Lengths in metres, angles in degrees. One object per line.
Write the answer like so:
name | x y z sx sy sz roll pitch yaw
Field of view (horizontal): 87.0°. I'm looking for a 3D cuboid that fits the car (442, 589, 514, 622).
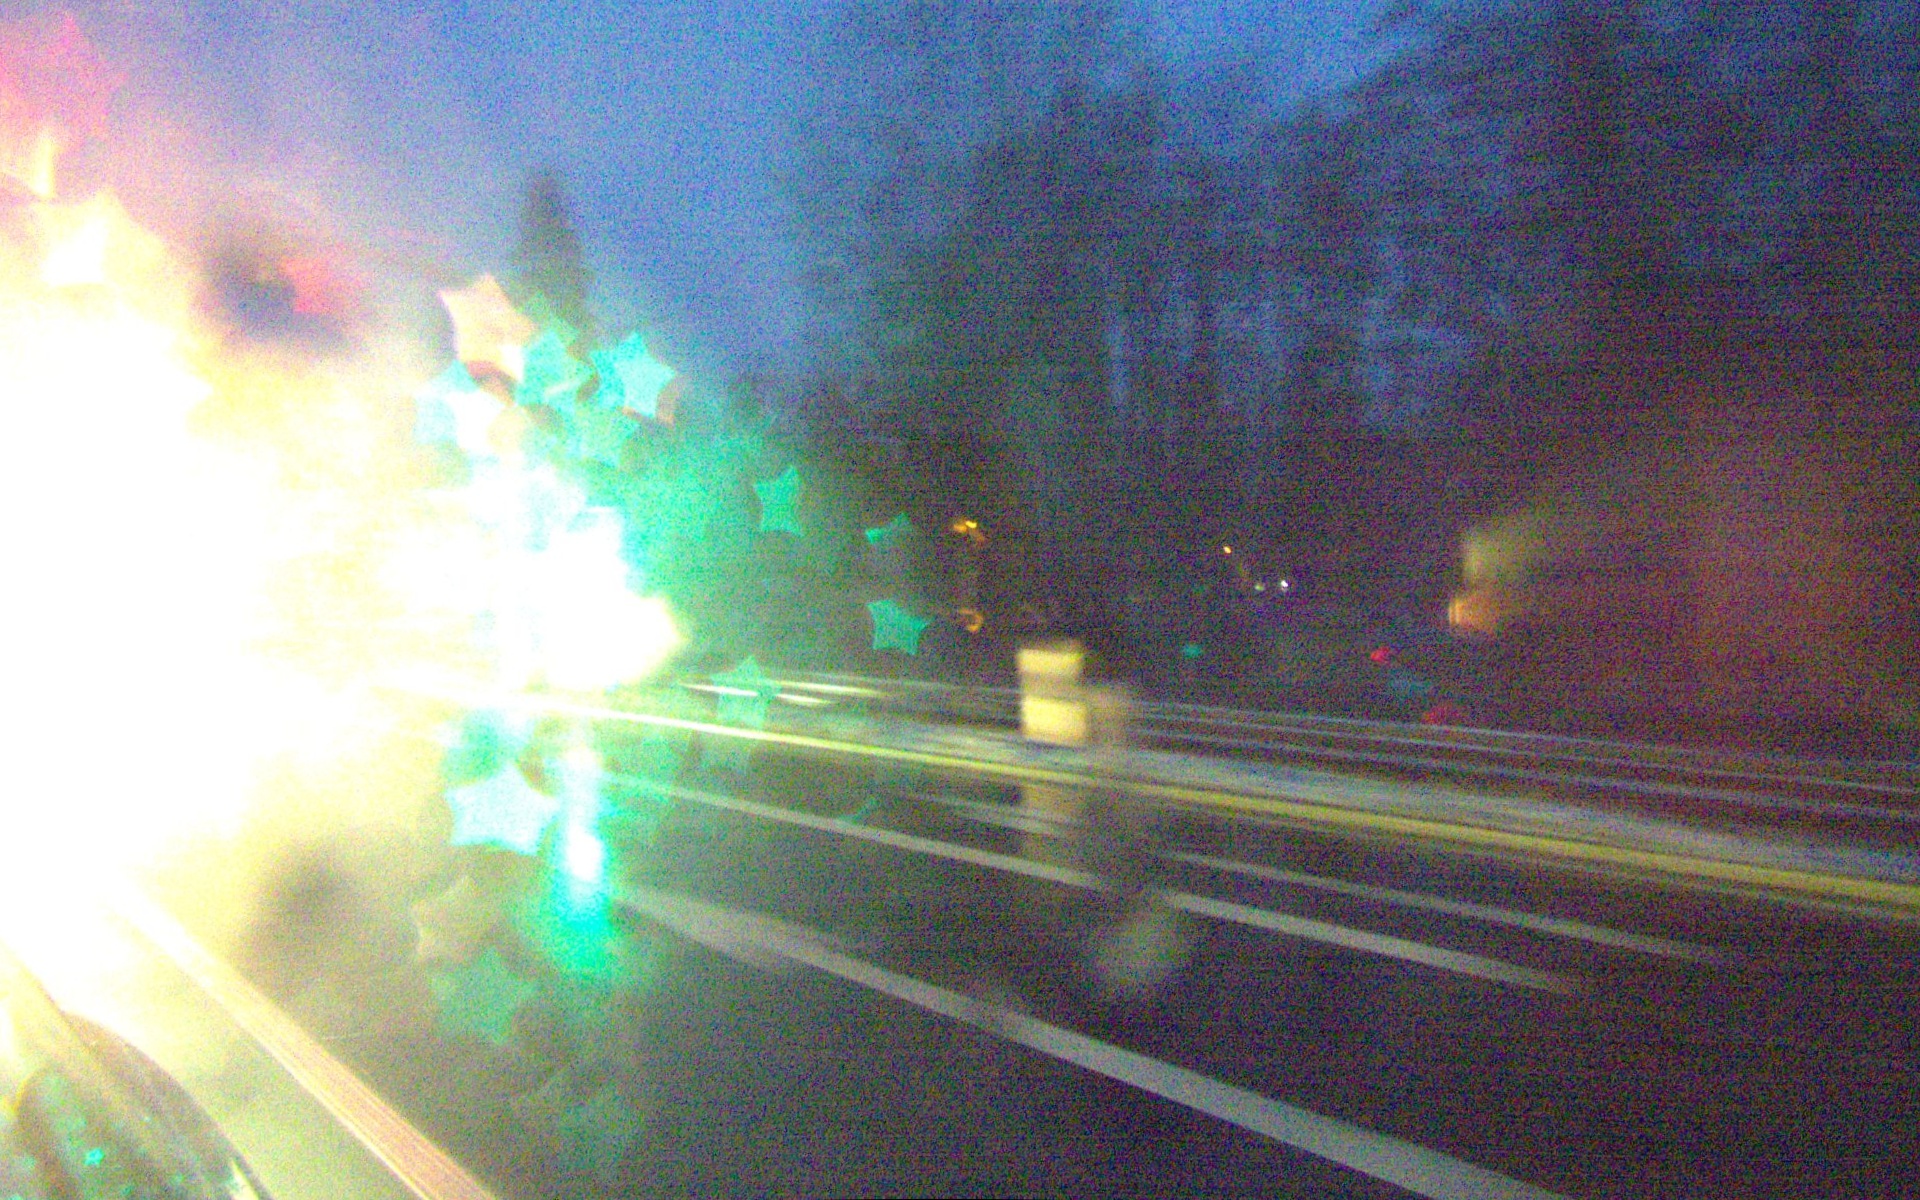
car | -25.801 0.256 54.135 4.482 1.598 1.912 2 1 43
